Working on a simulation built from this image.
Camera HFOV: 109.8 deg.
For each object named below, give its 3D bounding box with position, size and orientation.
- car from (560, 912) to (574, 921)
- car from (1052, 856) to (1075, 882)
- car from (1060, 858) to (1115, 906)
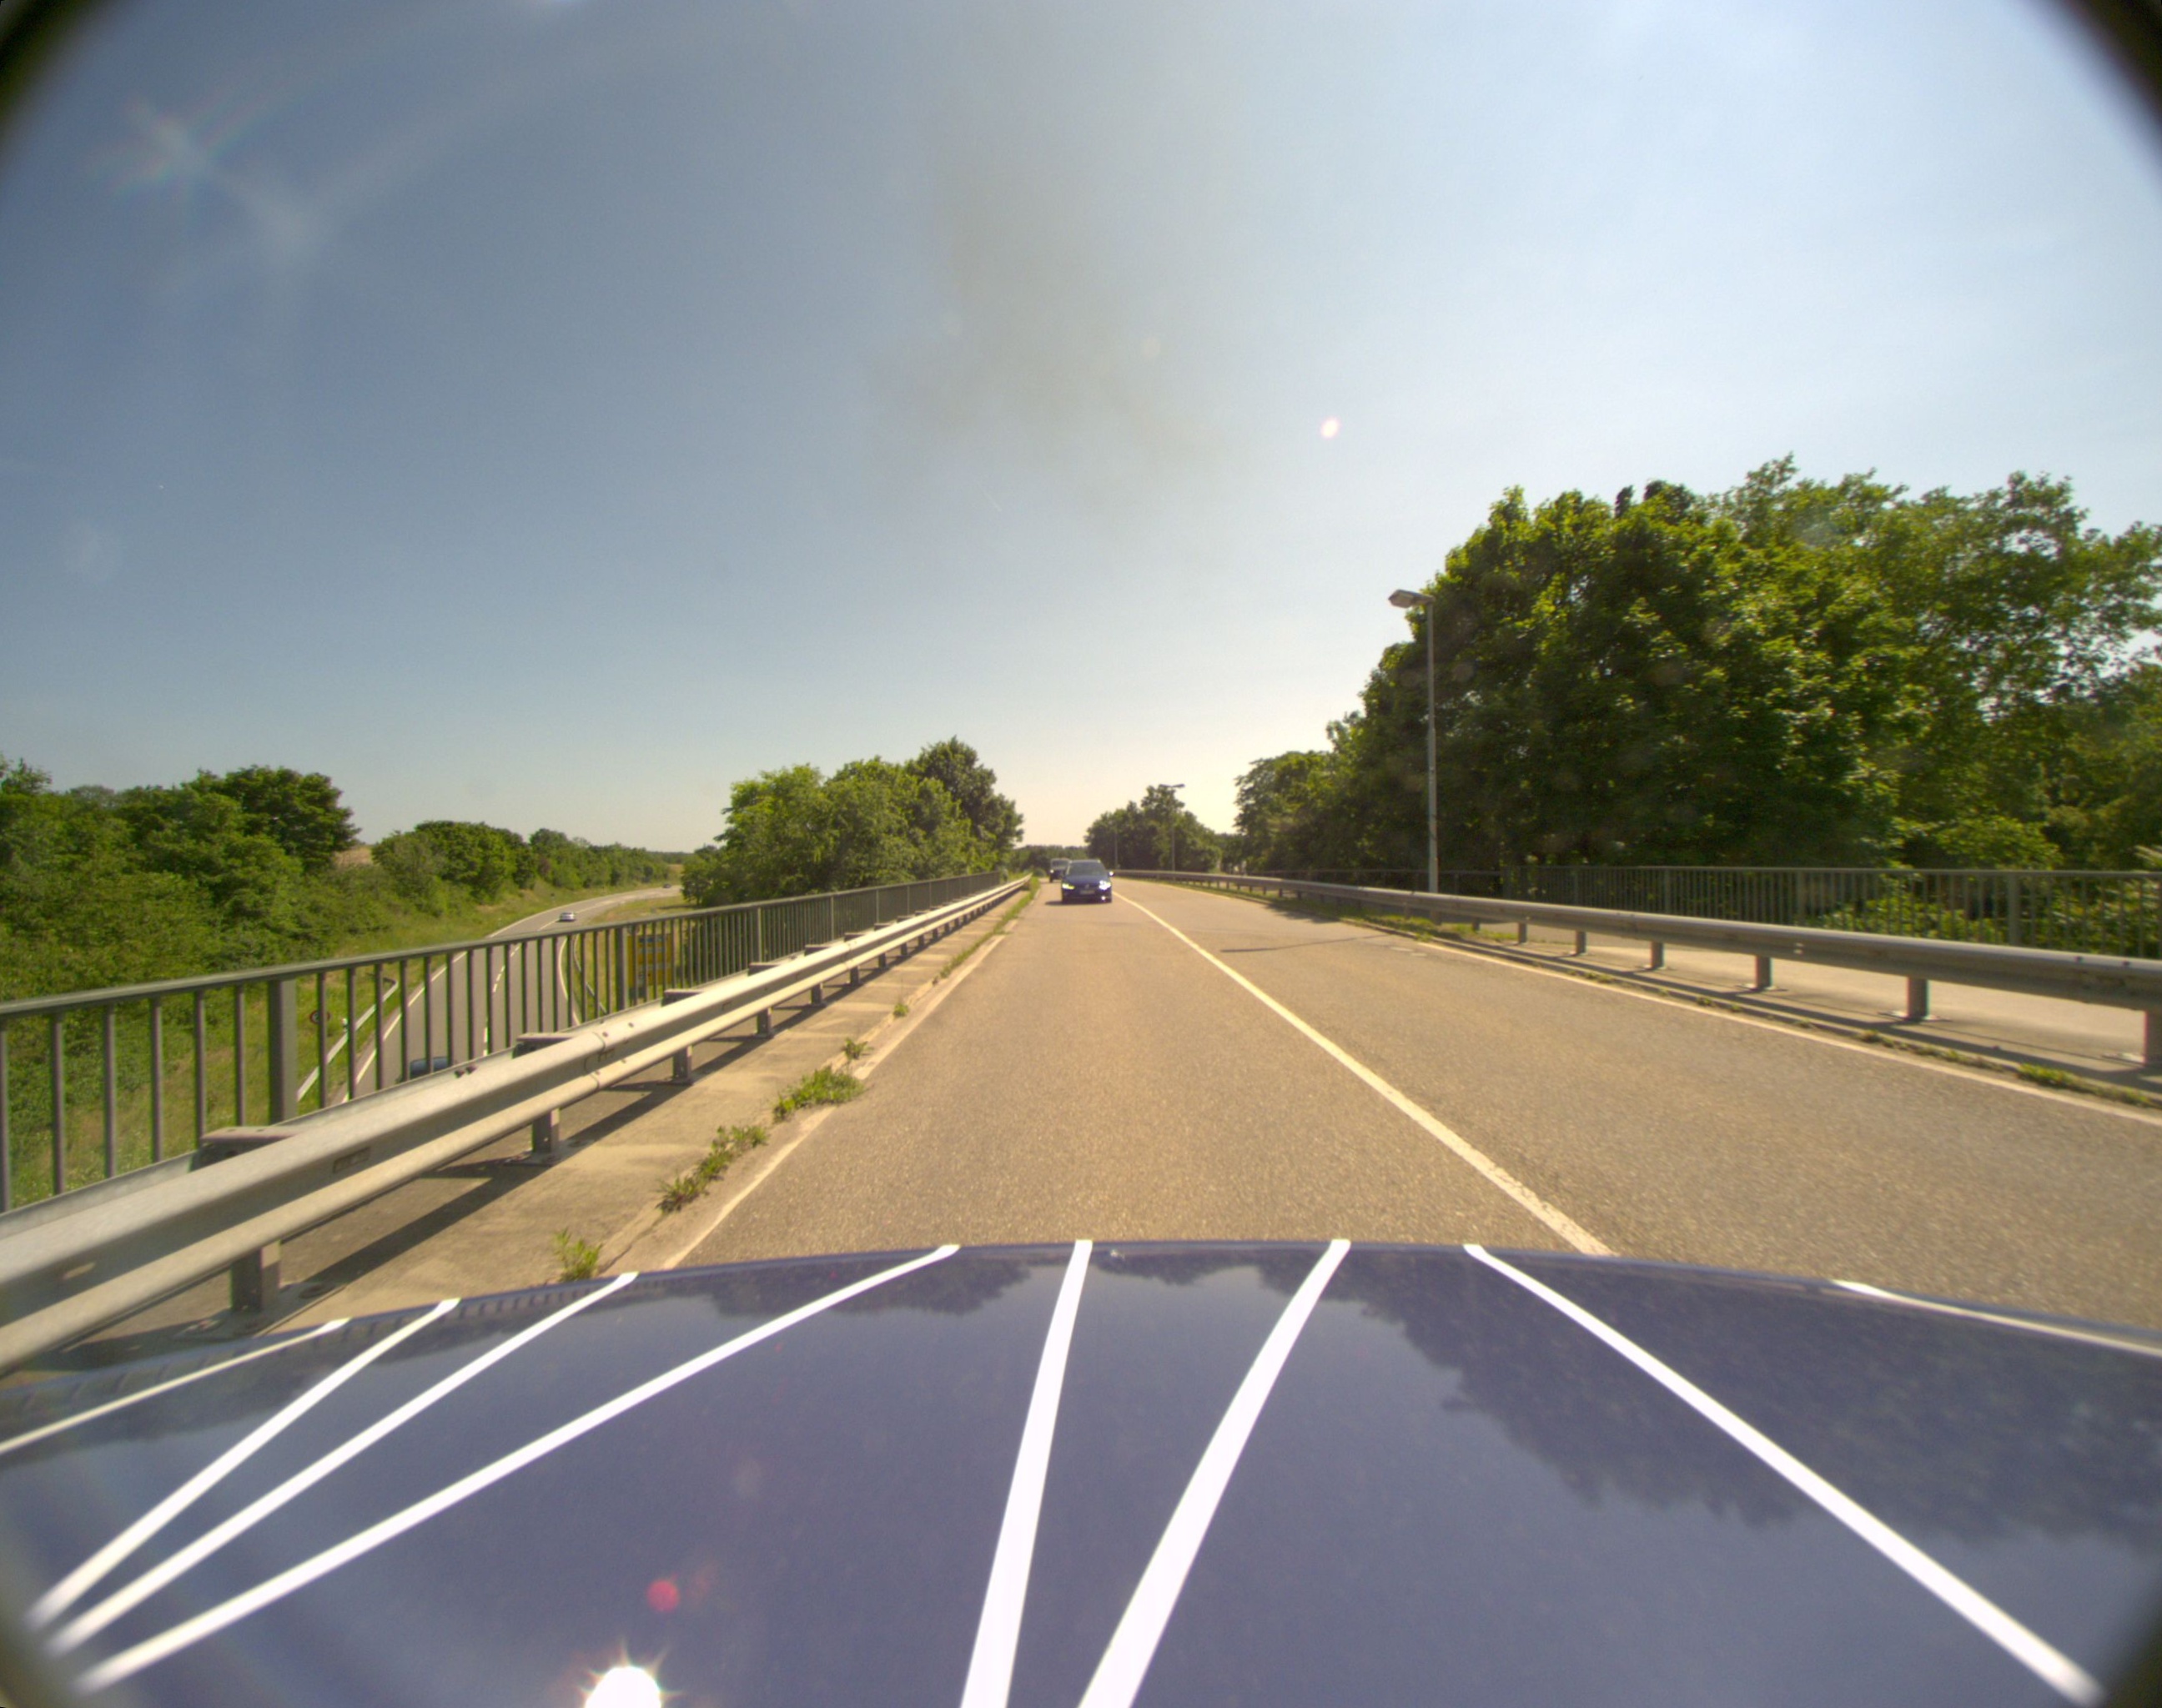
[{"bbox_3d":[-76.510,9.297,113.067,1.525,1.188,3.413,-4,-3,-37],"label":"car"},{"bbox_3d":[-1.494,1.265,63.058,1.779,2.006,4.001,-1,-2,-2],"label":"car"},{"bbox_3d":[0.174,0.961,27.980,1.829,1.591,4.195,-1,0,-2],"label":"car"}]
